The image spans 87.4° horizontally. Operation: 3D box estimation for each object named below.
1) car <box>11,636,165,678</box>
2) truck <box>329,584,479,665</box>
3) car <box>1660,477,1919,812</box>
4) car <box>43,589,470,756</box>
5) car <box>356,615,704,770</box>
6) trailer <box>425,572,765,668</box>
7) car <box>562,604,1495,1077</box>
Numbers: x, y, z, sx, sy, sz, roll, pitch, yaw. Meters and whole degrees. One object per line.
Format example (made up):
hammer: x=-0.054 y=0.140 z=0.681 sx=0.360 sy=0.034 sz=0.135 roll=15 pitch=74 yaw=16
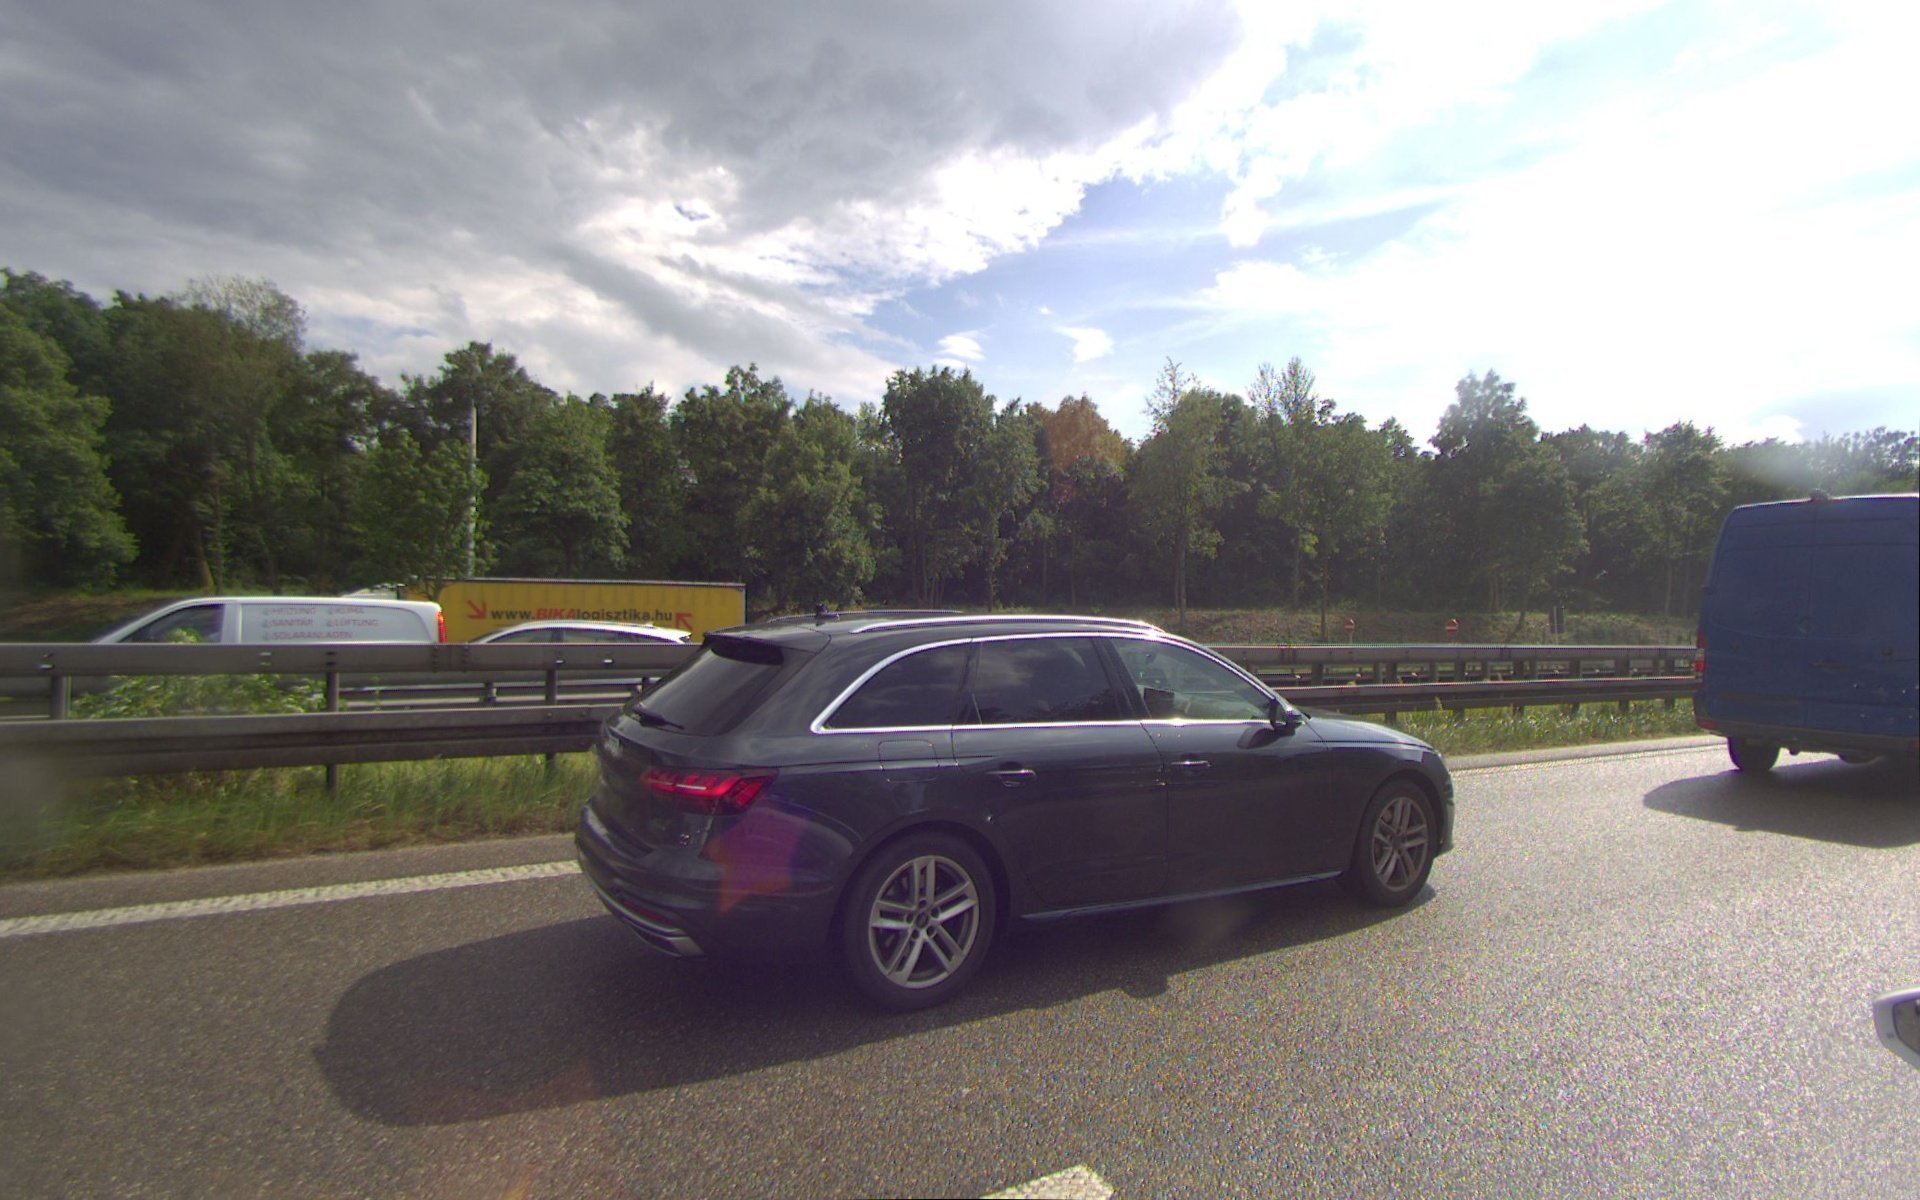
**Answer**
car: x=-32.719 y=2.130 z=37.837 sx=3.942 sy=1.523 sz=1.891 roll=1 pitch=-2 yaw=-22
truck: x=-22.615 y=1.006 z=41.104 sx=4.996 sy=3.139 sz=1.974 roll=2 pitch=0 yaw=-18
car: x=9.715 y=0.421 z=10.247 sx=5.709 sy=2.684 sz=2.006 roll=2 pitch=0 yaw=-30
car: x=-9.693 y=0.951 z=14.370 sx=4.676 sy=2.040 sz=1.984 roll=2 pitch=0 yaw=-31
car: x=-5.233 y=1.052 z=12.376 sx=3.740 sy=1.628 sz=1.525 roll=2 pitch=0 yaw=-32
trailer: x=-15.388 y=0.942 z=43.485 sx=13.442 sy=3.744 sz=1.992 roll=2 pitch=0 yaw=-18
car: x=0.534 y=0.789 z=4.954 sx=4.417 sy=1.430 sz=1.710 roll=2 pitch=-1 yaw=-31
